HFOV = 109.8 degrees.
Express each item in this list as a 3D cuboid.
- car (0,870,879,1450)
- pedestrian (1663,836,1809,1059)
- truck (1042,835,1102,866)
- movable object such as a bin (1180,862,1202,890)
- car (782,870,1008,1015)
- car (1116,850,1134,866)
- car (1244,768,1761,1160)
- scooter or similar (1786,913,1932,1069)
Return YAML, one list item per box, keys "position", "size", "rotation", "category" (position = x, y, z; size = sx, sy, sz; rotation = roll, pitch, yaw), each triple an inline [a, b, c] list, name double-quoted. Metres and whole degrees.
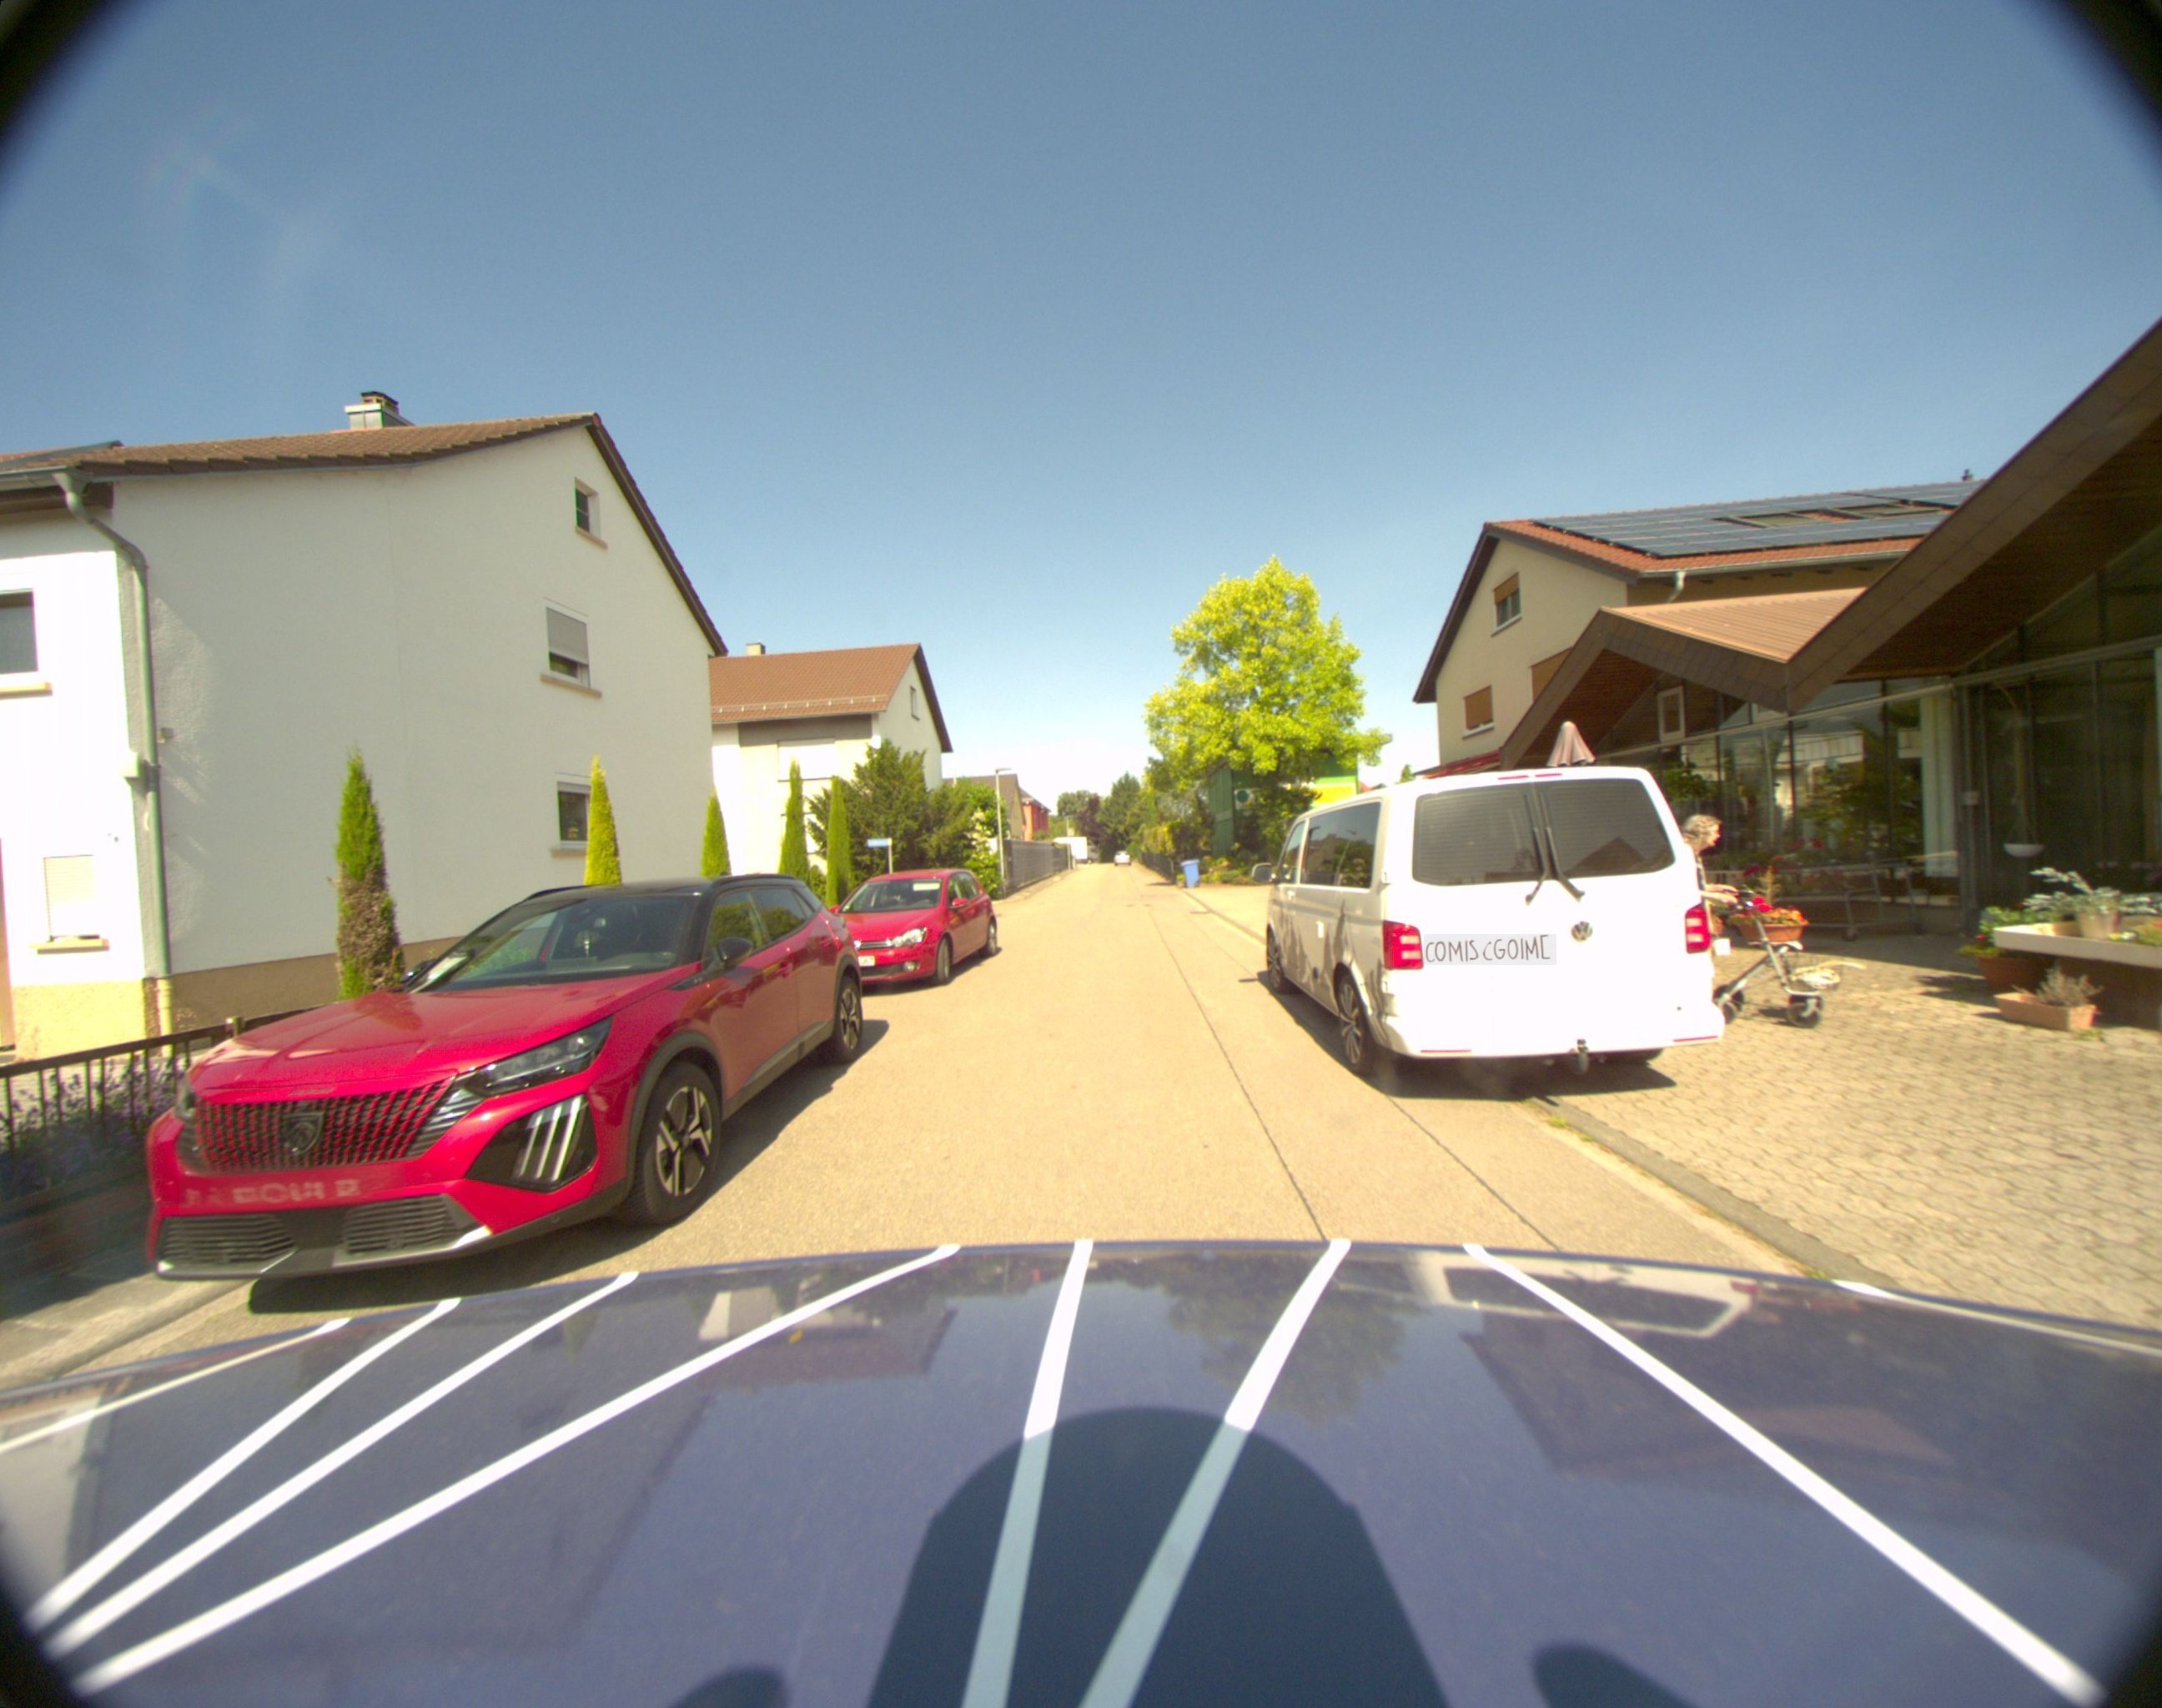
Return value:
- position: [-2.682, 1.003, 4.357]
  size: [1.827, 1.606, 4.000]
  rotation: [-4, 0, 1]
  category: "car"
- position: [4.870, 0.654, 5.698]
  size: [0.717, 1.529, 0.643]
  rotation: [-3, 0, 36]
  category: "pedestrian"
- position: [-1.246, -0.428, 103.709]
  size: [7.590, 3.866, 2.877]
  rotation: [-3, 0, -13]
  category: "truck"
- position: [4.376, 0.860, 30.203]
  size: [0.732, 1.048, 0.612]
  rotation: [-4, 1, 3]
  category: "movable object such as a bin"
- position: [-2.411, 1.109, 11.010]
  size: [1.779, 1.471, 4.001]
  rotation: [-5, 0, 7]
  category: "car"
- position: [4.591, 0.405, 79.041]
  size: [1.757, 1.478, 4.376]
  rotation: [-3, 0, 3]
  category: "car"
- position: [2.731, 0.582, 6.461]
  size: [1.933, 2.002, 4.897]
  rotation: [-3, 0, 5]
  category: "car"
- position: [5.404, 0.917, 5.315]
  size: [0.601, 0.940, 0.622]
  rotation: [-3, 1, 37]
  category: "scooter or similar"
